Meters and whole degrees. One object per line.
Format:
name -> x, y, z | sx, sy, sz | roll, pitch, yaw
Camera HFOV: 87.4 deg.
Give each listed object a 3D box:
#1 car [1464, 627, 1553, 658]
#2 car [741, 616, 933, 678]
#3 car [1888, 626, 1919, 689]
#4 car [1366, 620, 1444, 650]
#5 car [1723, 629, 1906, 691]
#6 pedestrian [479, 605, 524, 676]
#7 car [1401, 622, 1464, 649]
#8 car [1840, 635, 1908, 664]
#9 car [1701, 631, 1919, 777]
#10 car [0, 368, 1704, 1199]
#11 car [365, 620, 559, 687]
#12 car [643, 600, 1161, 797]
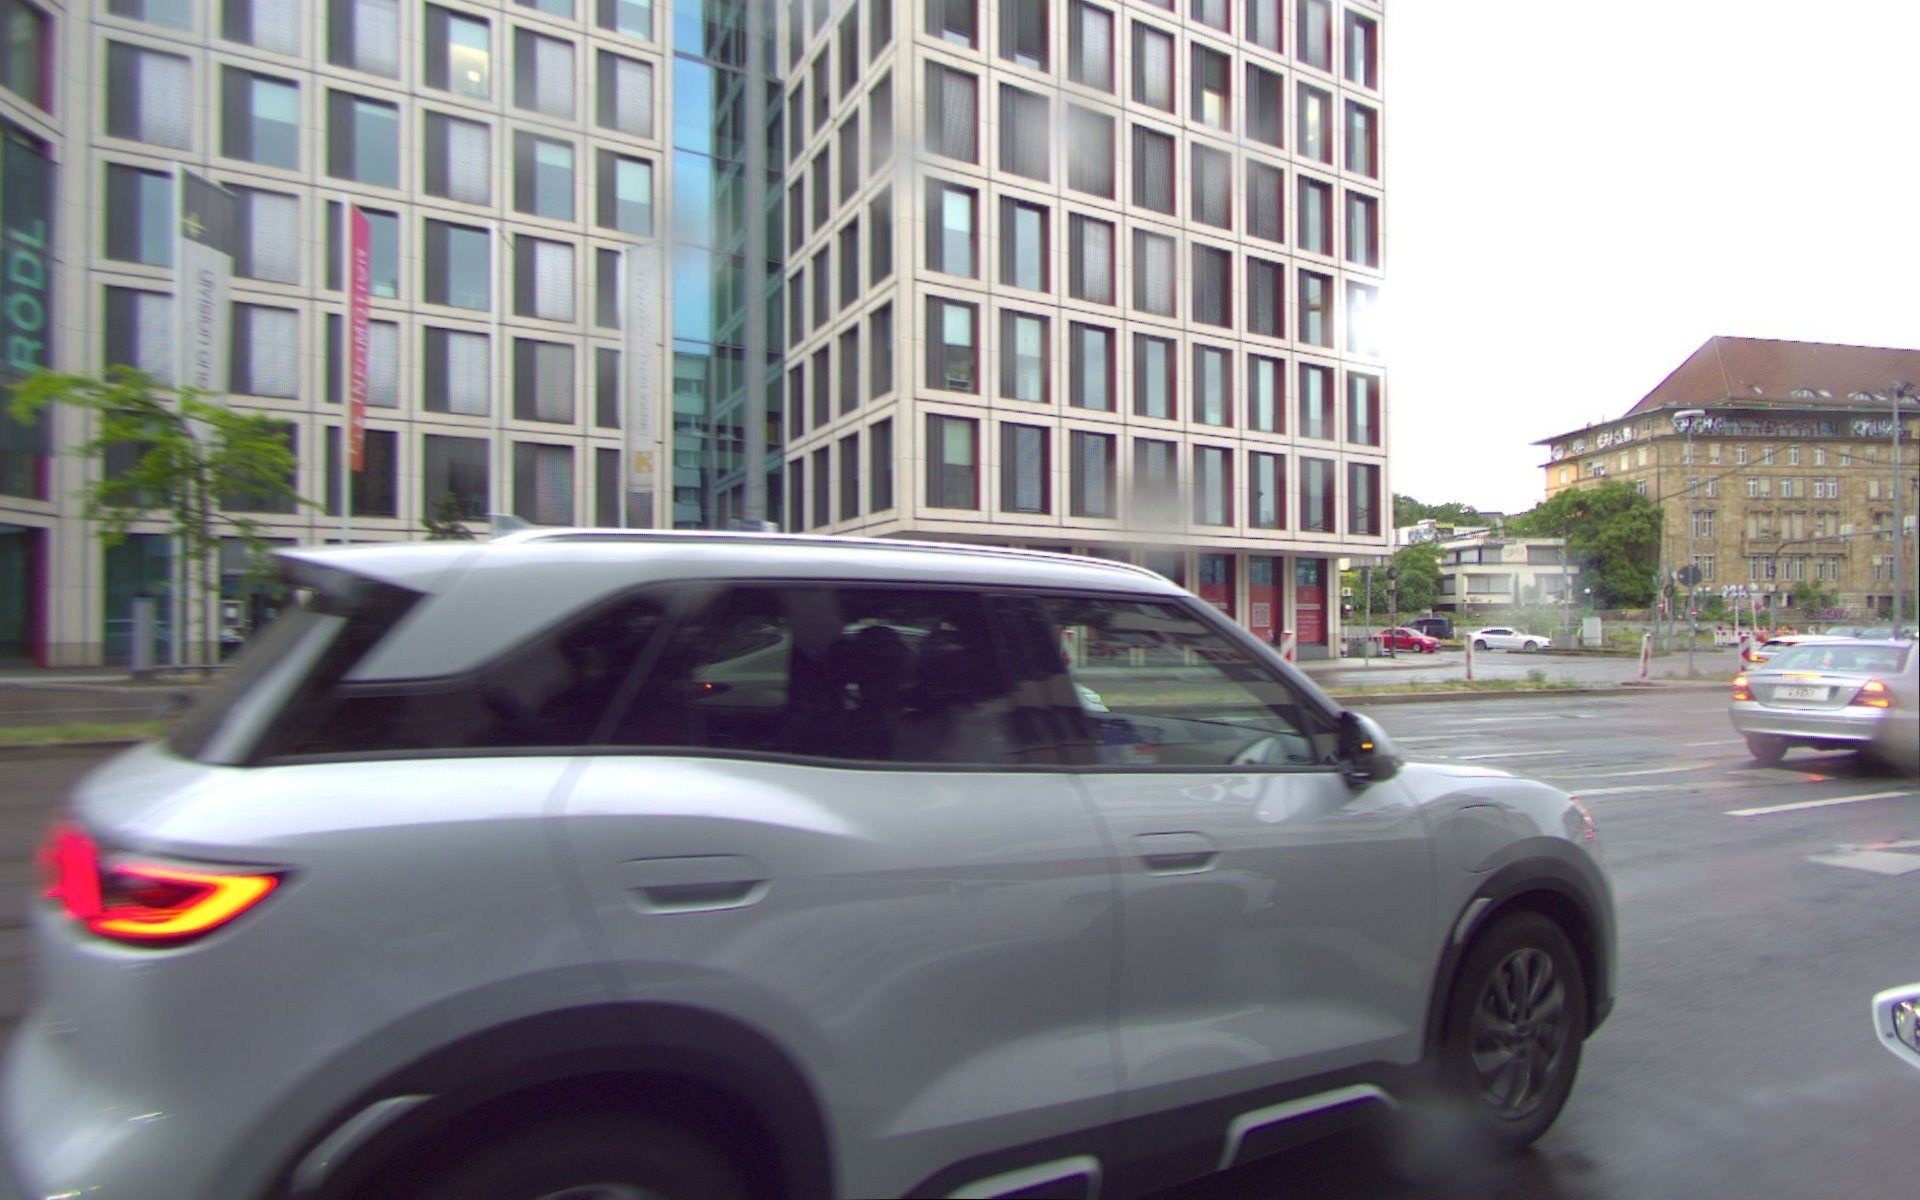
car -> 33.077, 2.518, 60.619 | 4.335, 1.684, 1.988 | 1, -1, 44
car -> -3.388, 1.323, 28.166 | 5.124, 1.590, 1.689 | 2, -3, -31
car -> 27.103, 1.567, 26.636 | 4.004, 1.621, 1.784 | 2, -1, -15
car -> 26.303, 2.047, 59.465 | 1.659, 1.617, 3.960 | 2, -1, -35
car -> 20.990, 1.478, 24.685 | 3.934, 1.391, 1.780 | 2, -1, -21
pedestrian -> -11.669, 1.031, 25.560 | 0.955, 1.757, 0.610 | 2, -1, -29
car -> 38.007, 2.833, 80.810 | 4.164, 2.040, 1.990 | 1, -1, 41
car -> 49.448, 2.666, 54.321 | 3.830, 1.539, 1.689 | 2, -3, -31
car -> 10.902, 1.138, 11.830 | 4.326, 1.422, 1.727 | 2, -1, -27
car -> 0.126, 0.651, 2.878 | 4.123, 1.683, 1.799 | 2, -1, -31
car -> -11.579, 1.238, 23.449 | 3.910, 1.442, 1.689 | 2, -3, -31
car -> -0.475, 0.851, 9.835 | 4.743, 1.541, 1.823 | 2, -1, -29
